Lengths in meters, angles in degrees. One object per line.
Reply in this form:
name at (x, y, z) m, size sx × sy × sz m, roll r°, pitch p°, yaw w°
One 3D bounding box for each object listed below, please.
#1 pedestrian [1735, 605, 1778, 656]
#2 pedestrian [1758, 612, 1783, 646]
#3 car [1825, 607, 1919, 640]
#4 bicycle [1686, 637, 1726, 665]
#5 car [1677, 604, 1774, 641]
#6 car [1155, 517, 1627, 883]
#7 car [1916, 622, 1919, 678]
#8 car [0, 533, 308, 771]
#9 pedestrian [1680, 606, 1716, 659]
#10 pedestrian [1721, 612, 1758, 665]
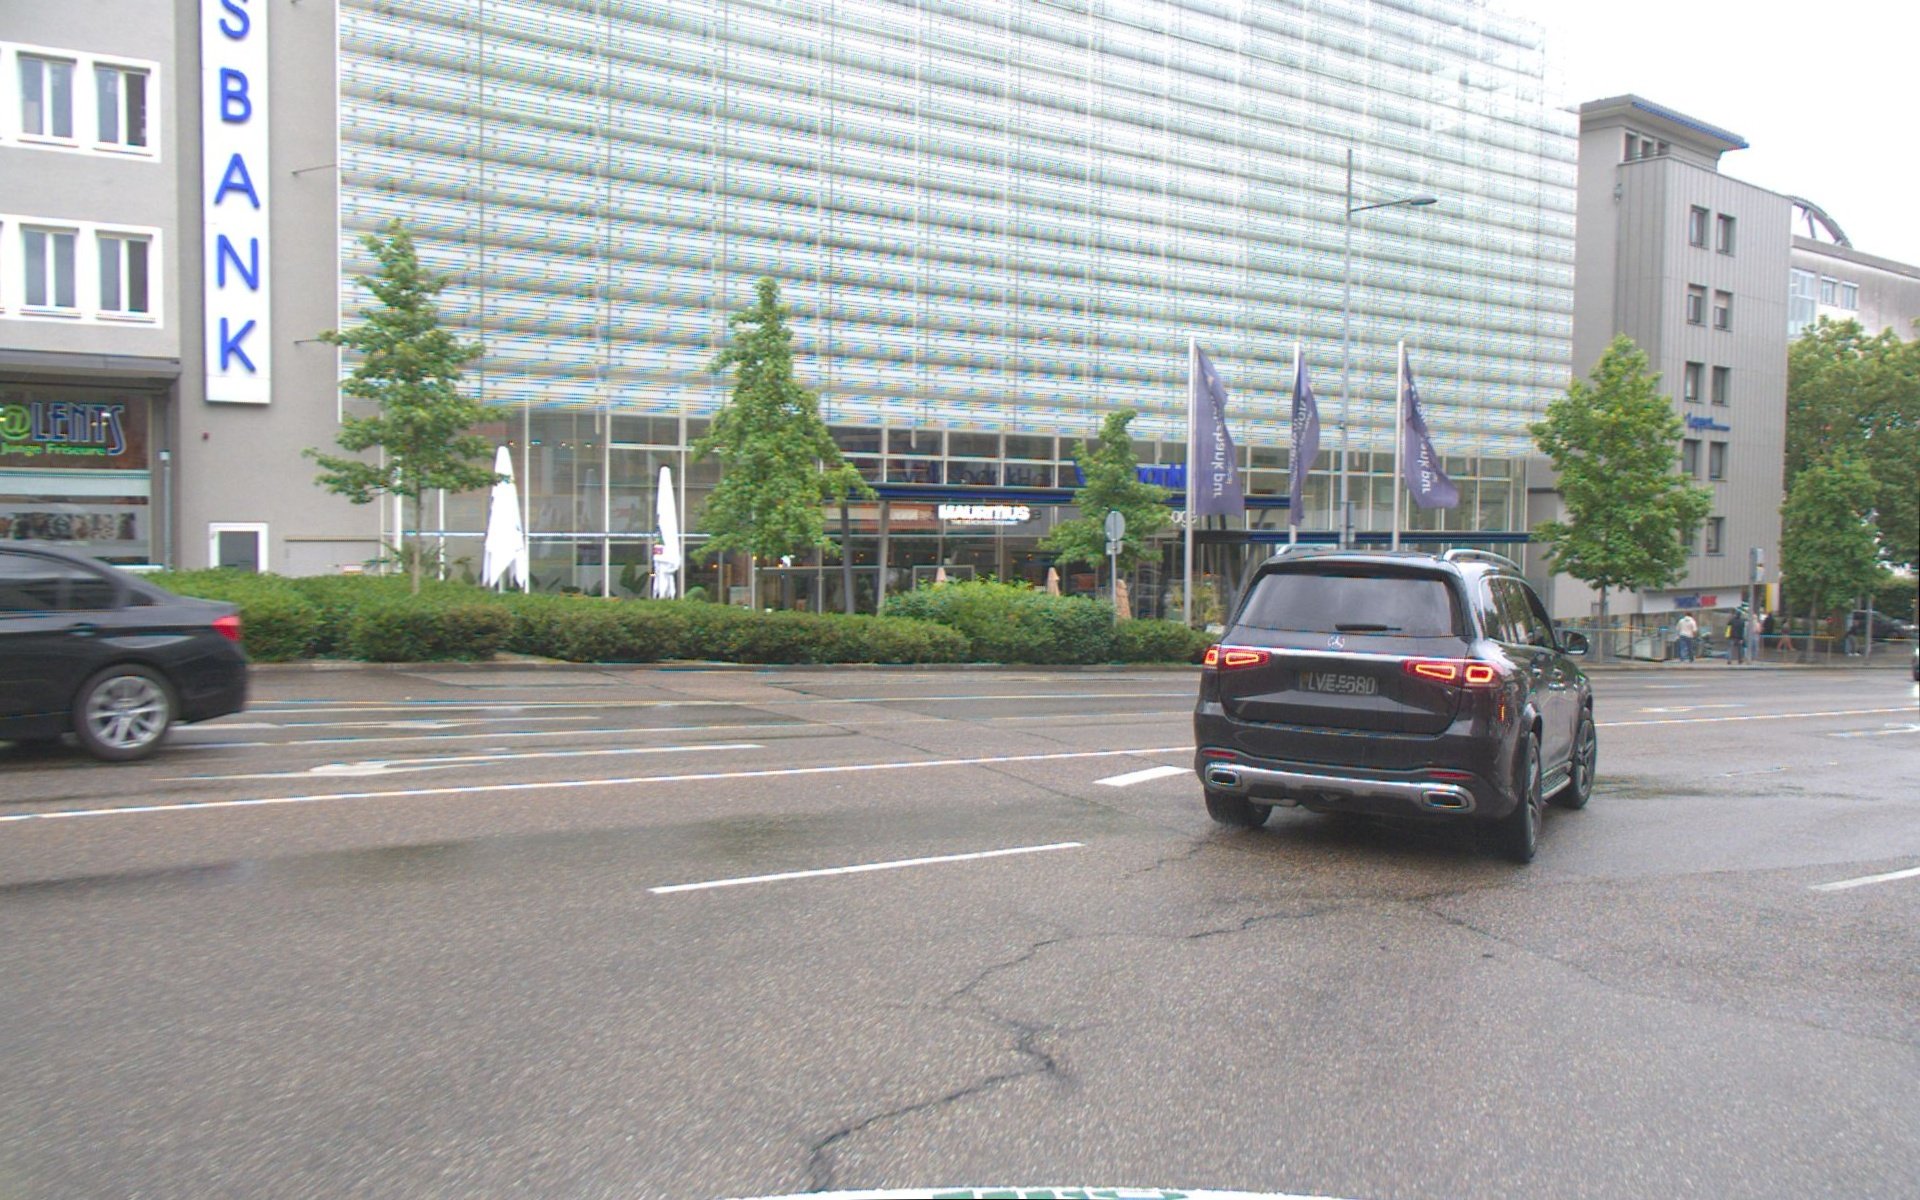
pedestrian at (28.659, 1.095, 59.520) m, size 1.078 × 1.752 × 0.964 m, roll 1°, pitch 1°, yaw -37°
pedestrian at (42.540, 1.531, 86.856) m, size 0.939 × 1.752 × 0.752 m, roll 1°, pitch 0°, yaw -31°
car at (52.131, 1.318, 94.586) m, size 4.513 × 1.507 × 1.936 m, roll 5°, pitch 2°, yaw 34°
bicycle at (31.795, 2.175, 70.487) m, size 0.604 × 1.105 × 2.651 m, roll 4°, pitch 2°, yaw 45°
car at (45.906, 1.334, 99.218) m, size 4.985 × 1.789 × 1.994 m, roll 5°, pitch 2°, yaw 34°
car at (3.200, 0.514, 11.385) m, size 2.048 × 1.848 × 4.786 m, roll 4°, pitch 2°, yaw 27°
car at (28.523, 1.431, 47.485) m, size 1.807 × 1.579 × 4.086 m, roll 1°, pitch 0°, yaw 30°
car at (-6.821, 0.284, 10.487) m, size 1.966 × 1.450 × 4.602 m, roll 2°, pitch 1°, yaw 44°
pedestrian at (24.937, 1.083, 55.874) m, size 0.974 × 1.752 × 1.037 m, roll 2°, pitch 1°, yaw 28°
pedestrian at (26.068, 1.280, 55.278) m, size 0.803 × 1.743 × 1.307 m, roll 2°, pitch 1°, yaw 39°
